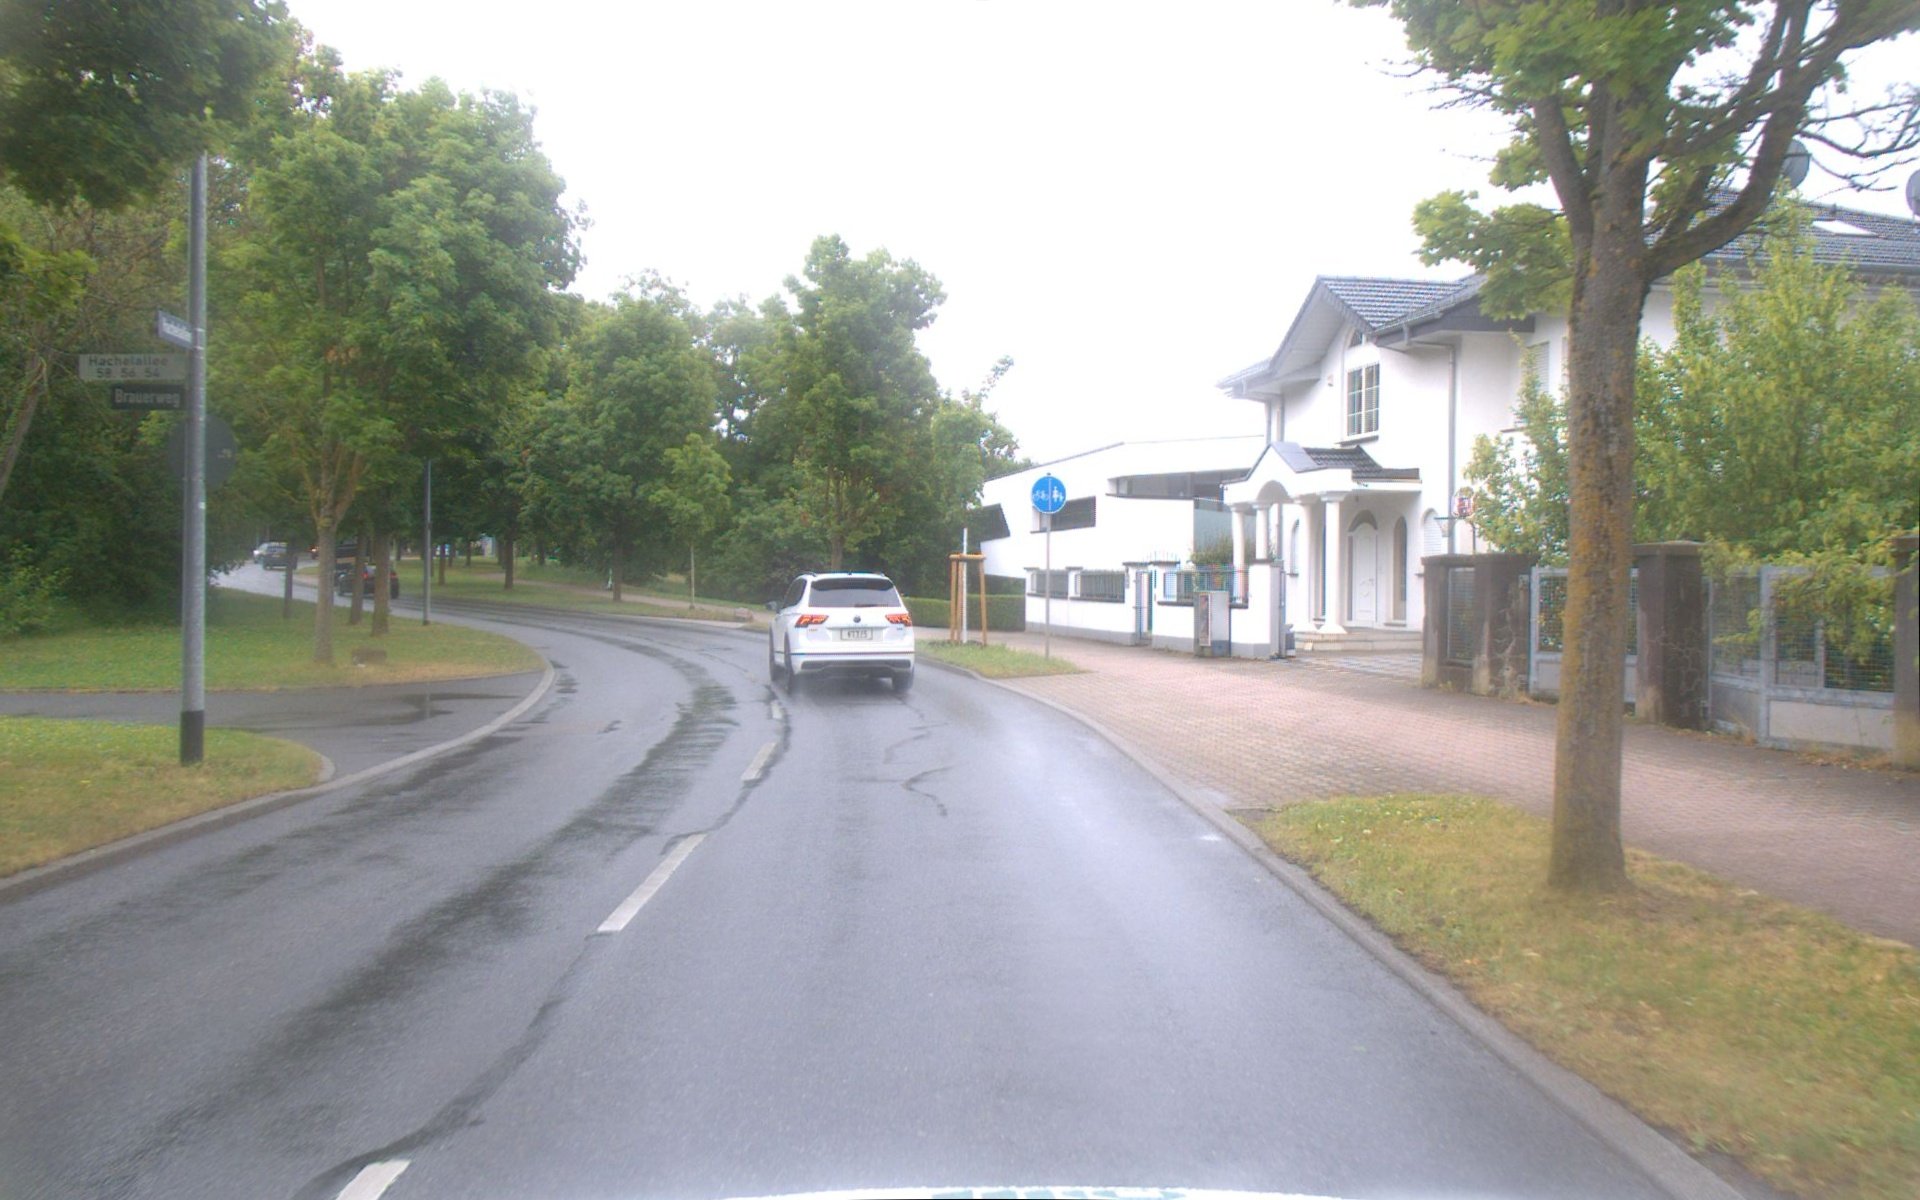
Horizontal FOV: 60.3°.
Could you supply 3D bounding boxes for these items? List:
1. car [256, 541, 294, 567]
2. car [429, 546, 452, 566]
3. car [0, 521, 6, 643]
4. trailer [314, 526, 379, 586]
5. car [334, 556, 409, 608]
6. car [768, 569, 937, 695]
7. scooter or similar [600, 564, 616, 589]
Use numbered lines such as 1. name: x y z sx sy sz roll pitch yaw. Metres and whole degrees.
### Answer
1. car: -45.708 -3.069 110.339 1.771 1.564 4.051 3 1 -30
2. car: -53.860 -4.551 171.539 1.960 1.839 3.985 3 0 -14
3. car: -16.470 -0.123 24.791 2.090 2.020 5.460 -1 4 -12
4. trailer: -31.633 -2.331 85.183 1.974 2.856 5.550 -5 5 -31
5. car: -25.056 -0.774 70.360 1.886 2.049 3.895 3 0 -36
6. car: -1.680 0.414 24.403 1.939 1.681 4.165 0 0 -12
7. scooter or similar: -17.270 -1.152 81.201 0.457 1.166 1.290 -1 2 -27
